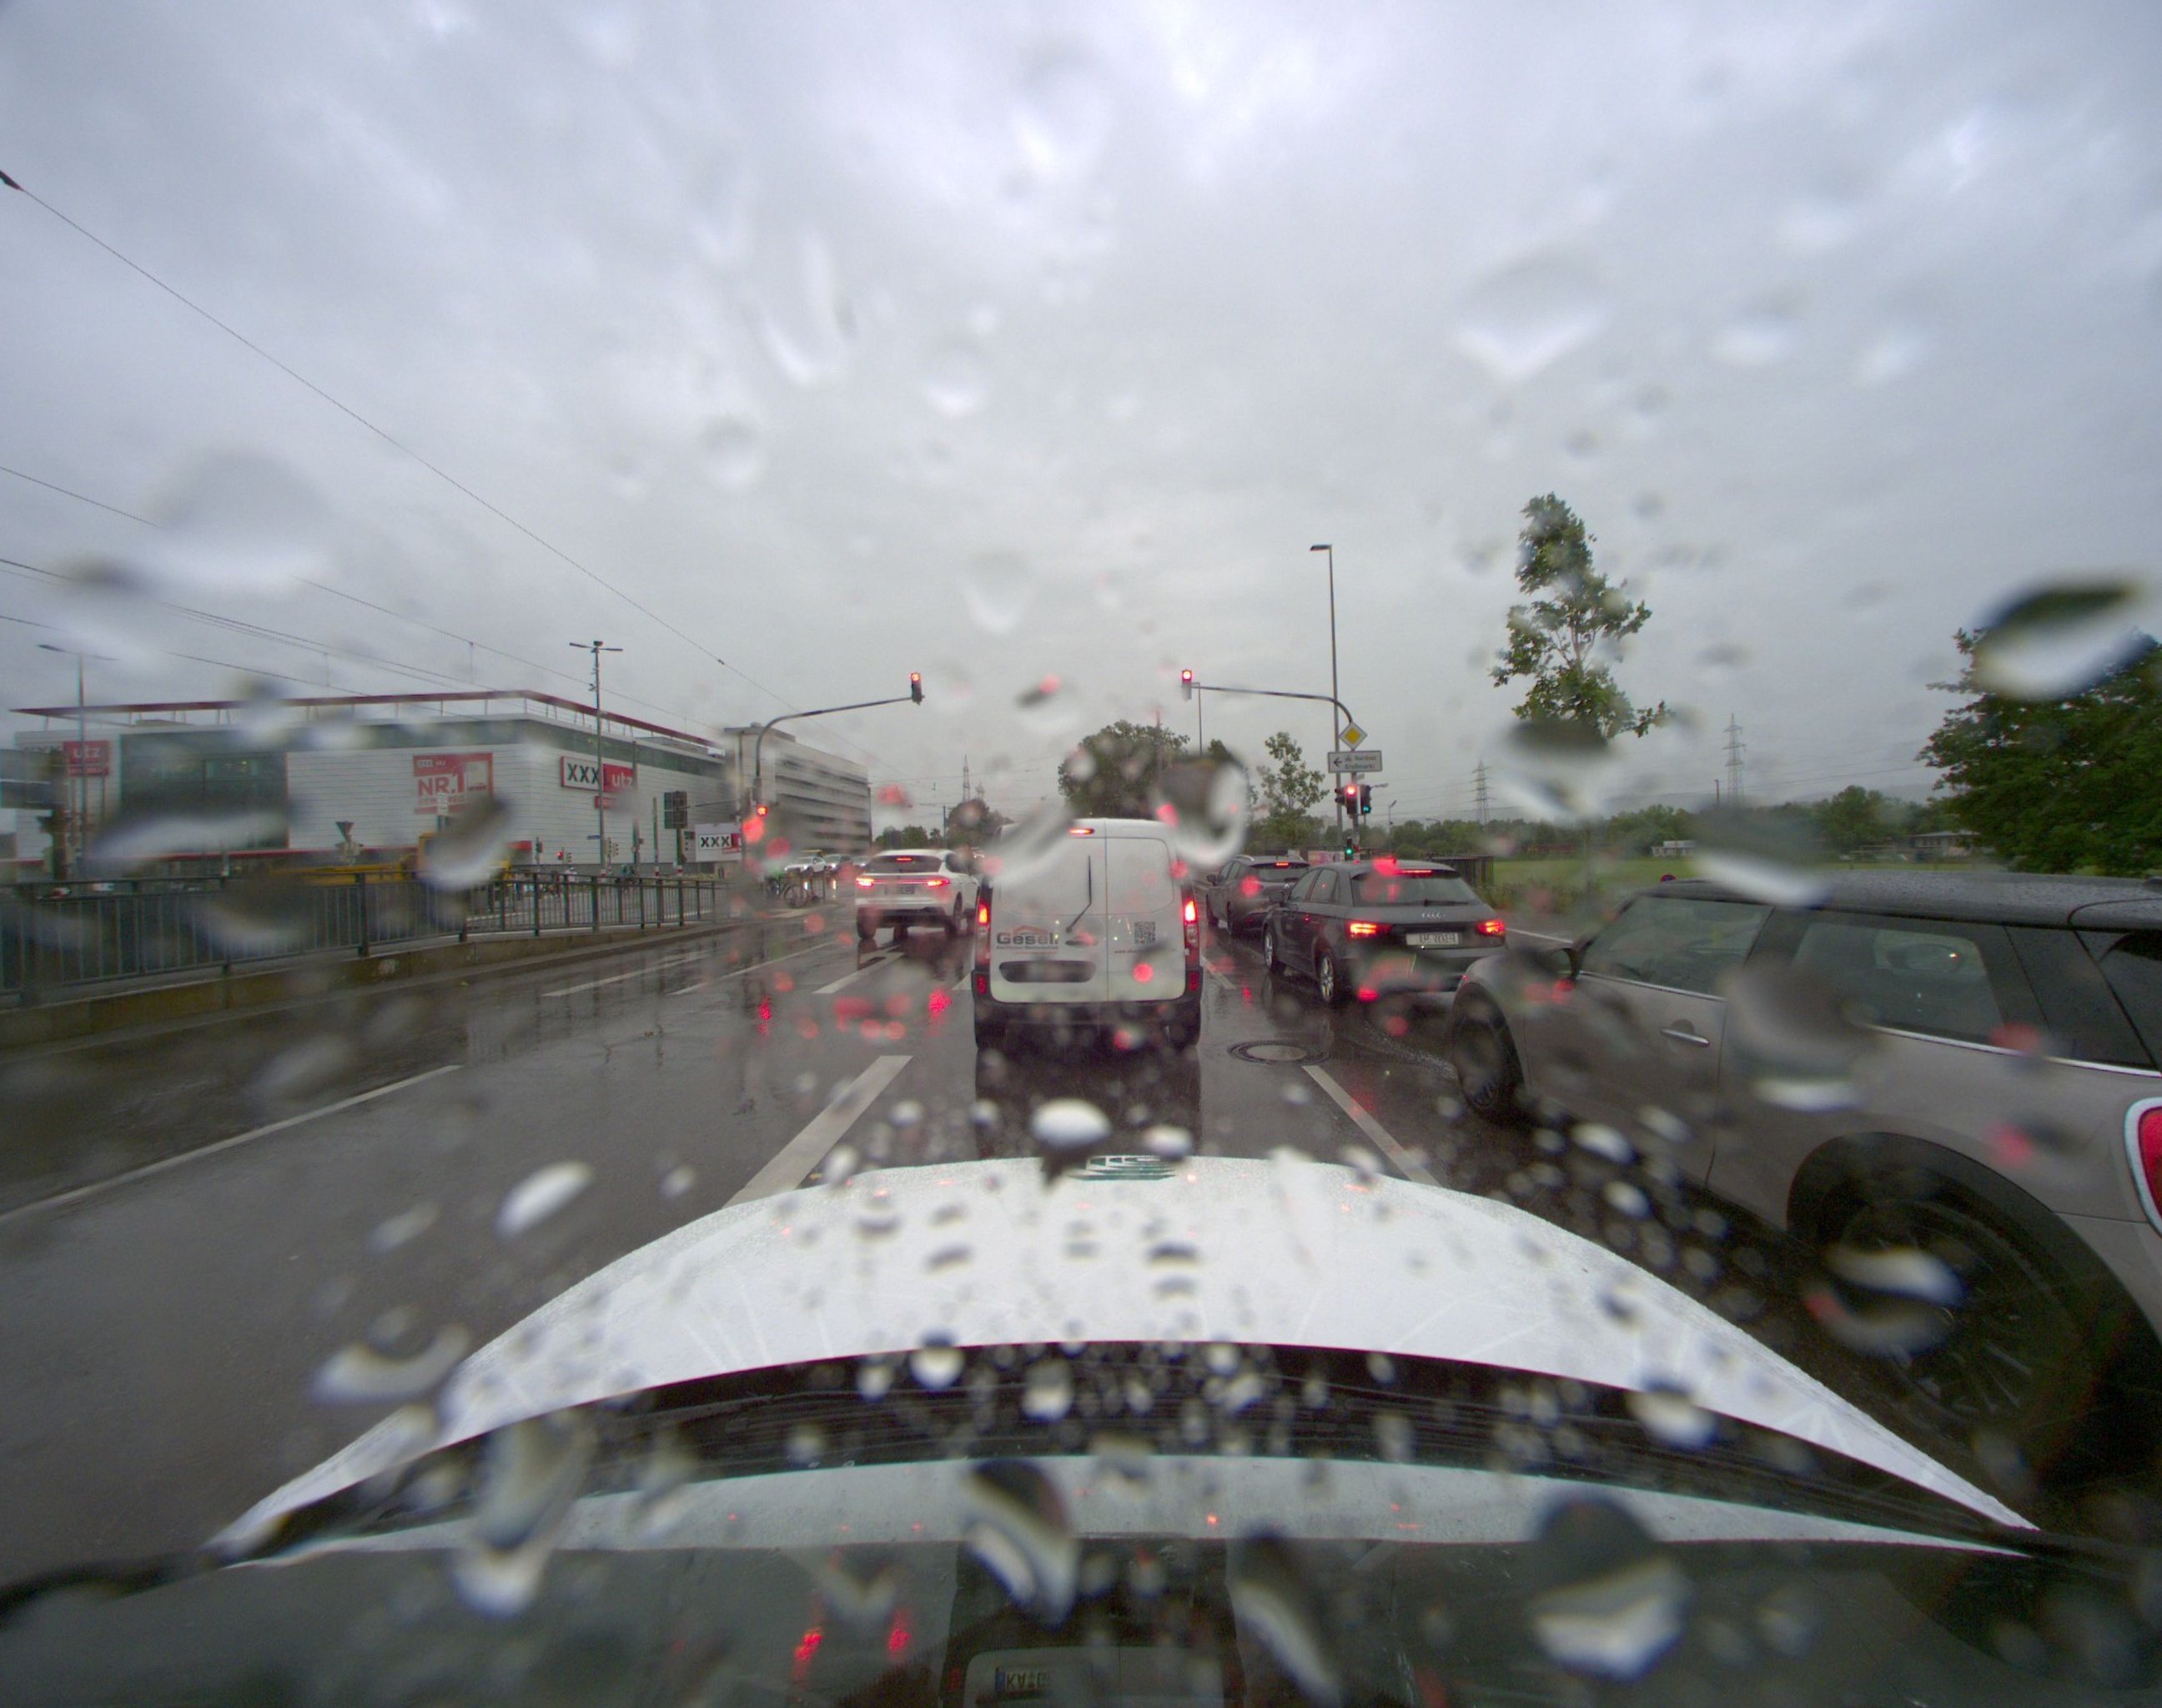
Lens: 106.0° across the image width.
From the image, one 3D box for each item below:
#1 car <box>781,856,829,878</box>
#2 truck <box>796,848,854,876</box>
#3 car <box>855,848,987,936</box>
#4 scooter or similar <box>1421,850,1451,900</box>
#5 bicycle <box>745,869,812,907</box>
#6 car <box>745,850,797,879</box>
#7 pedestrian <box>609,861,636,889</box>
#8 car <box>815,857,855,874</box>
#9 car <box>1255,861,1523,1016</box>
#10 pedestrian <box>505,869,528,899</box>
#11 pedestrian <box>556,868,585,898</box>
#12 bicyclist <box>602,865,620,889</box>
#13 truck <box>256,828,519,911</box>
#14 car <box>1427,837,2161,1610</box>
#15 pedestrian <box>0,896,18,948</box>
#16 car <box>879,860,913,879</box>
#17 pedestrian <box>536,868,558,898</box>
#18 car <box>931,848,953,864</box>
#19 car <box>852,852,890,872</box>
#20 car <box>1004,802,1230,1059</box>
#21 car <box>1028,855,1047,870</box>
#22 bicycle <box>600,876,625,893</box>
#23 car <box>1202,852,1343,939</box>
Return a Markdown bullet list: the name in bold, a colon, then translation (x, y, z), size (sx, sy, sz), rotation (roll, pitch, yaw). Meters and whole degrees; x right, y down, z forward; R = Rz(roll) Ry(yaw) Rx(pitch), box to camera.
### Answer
- **car**: translation (-19.519, 0.923, 57.762), size (1.689, 1.492, 3.884), rotation (-1, -1, 7)
- **truck**: translation (-22.300, 0.674, 71.289), size (2.342, 2.279, 7.637), rotation (0, 0, 2)
- **car**: translation (-3.044, 0.646, 16.345), size (1.723, 1.535, 4.298), rotation (0, 0, 1)
- **scooter or similar**: translation (8.452, 0.490, 19.431), size (0.244, 1.158, 1.187), rotation (0, -1, 3)
- **bicycle**: translation (-8.856, 0.980, 23.847), size (1.745, 1.034, 0.414), rotation (2, -1, 0)
- **car**: translation (-23.073, 0.770, 60.708), size (1.983, 2.014, 4.007), rotation (0, -1, 6)
- **pedestrian**: translation (-26.666, 1.210, 47.361), size (0.912, 1.632, 1.015), rotation (-1, -1, 12)
- **car**: translation (-19.159, 0.900, 63.664), size (1.579, 1.336, 3.837), rotation (0, -1, 6)
- **car**: translation (3.091, 0.754, 8.974), size (1.623, 1.344, 3.624), rotation (0, 0, 1)
- **pedestrian**: translation (-31.359, 1.635, 45.243), size (0.701, 1.632, 0.918), rotation (0, -1, -10)
- **pedestrian**: translation (-28.826, 1.623, 45.996), size (1.013, 1.632, 1.092), rotation (-1, -1, 33)
- **bicyclist**: translation (-28.585, 1.376, 49.506), size (0.681, 1.464, 0.647), rotation (0, -1, 3)
- **truck**: translation (-25.166, 0.539, 29.857), size (7.107, 2.816, 2.638), rotation (-1, -1, -4)
- **car**: translation (2.981, 0.714, 3.250), size (1.707, 1.508, 3.624), rotation (0, 0, 1)
- **pedestrian**: translation (-32.380, 2.036, 24.138), size (0.561, 1.537, 0.872), rotation (0, -1, 1)
- **car**: translation (-17.667, 1.458, 78.028), size (1.919, 1.827, 4.007), rotation (0, -1, 6)
- **pedestrian**: translation (-29.837, 1.626, 45.488), size (0.701, 1.632, 0.918), rotation (0, -1, -10)
- **car**: translation (-17.818, 0.230, 104.645), size (1.985, 2.014, 4.003), rotation (0, -1, 3)
- **car**: translation (-18.277, 0.674, 70.974), size (1.883, 1.699, 4.006), rotation (0, -1, 6)
- **car**: translation (0.315, 0.548, 7.725), size (1.560, 1.788, 4.002), rotation (-1, 0, 2)
- **car**: translation (-4.508, 0.860, 83.860), size (1.613, 1.503, 3.705), rotation (0, -1, -8)
- **bicycle**: translation (-28.519, 1.867, 49.559), size (0.448, 0.987, 1.710), rotation (0, -1, 3)
- **car**: translation (3.492, 0.690, 15.569), size (1.853, 1.428, 3.808), rotation (0, 0, 1)
